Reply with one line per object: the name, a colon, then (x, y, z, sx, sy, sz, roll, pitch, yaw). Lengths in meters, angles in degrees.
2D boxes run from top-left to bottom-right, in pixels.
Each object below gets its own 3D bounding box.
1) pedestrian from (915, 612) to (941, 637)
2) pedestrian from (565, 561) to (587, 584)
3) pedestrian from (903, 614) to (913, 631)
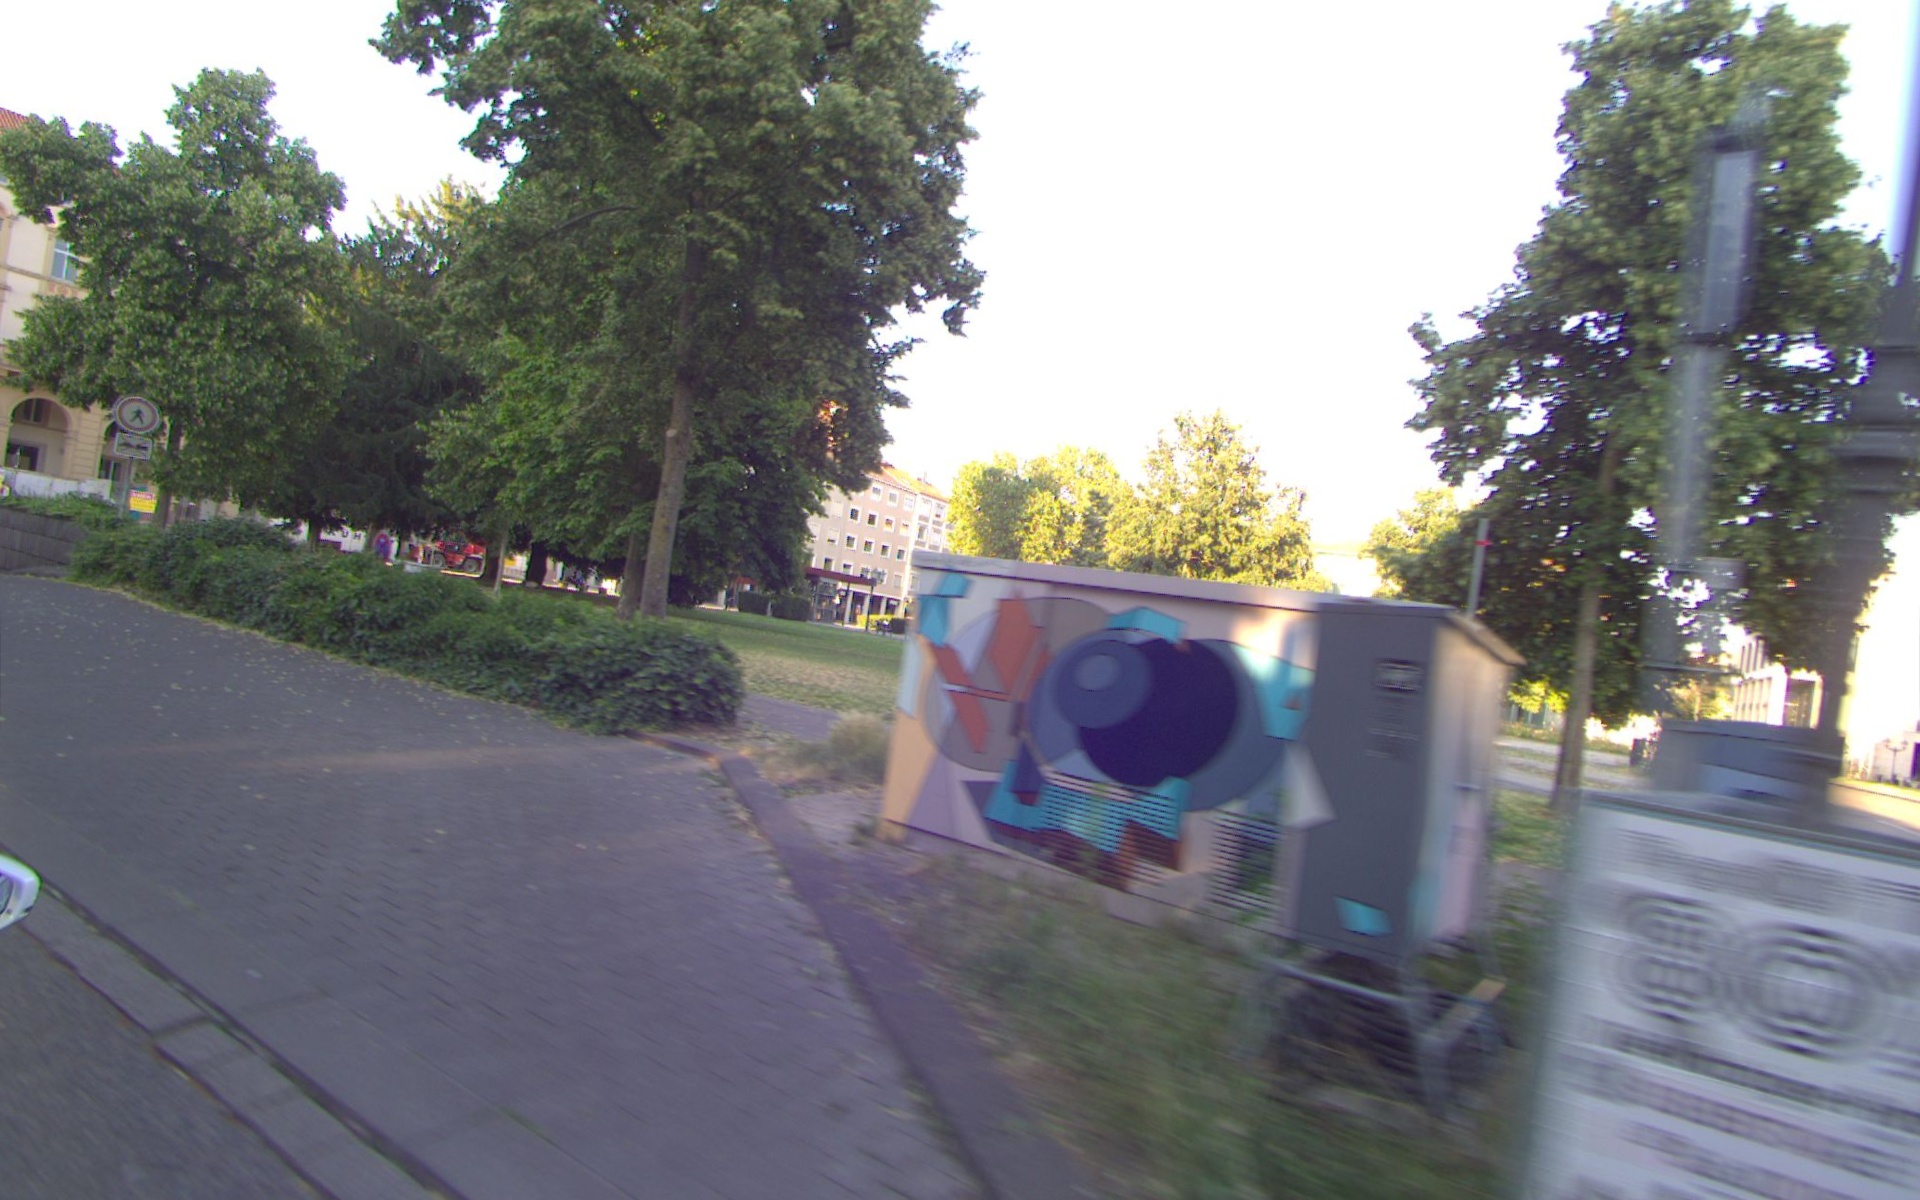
pedestrian: (-1.902, 1.466, 60.204, 1.061, 1.307, 0.834, 10, 0, -39)
pedestrian: (-24.107, -1.727, 63.173, 0.911, 1.266, 0.709, 8, 0, 29)
pedestrian: (-4.521, 1.981, 87.577, 0.640, 1.383, 1.032, 8, -1, -7)
